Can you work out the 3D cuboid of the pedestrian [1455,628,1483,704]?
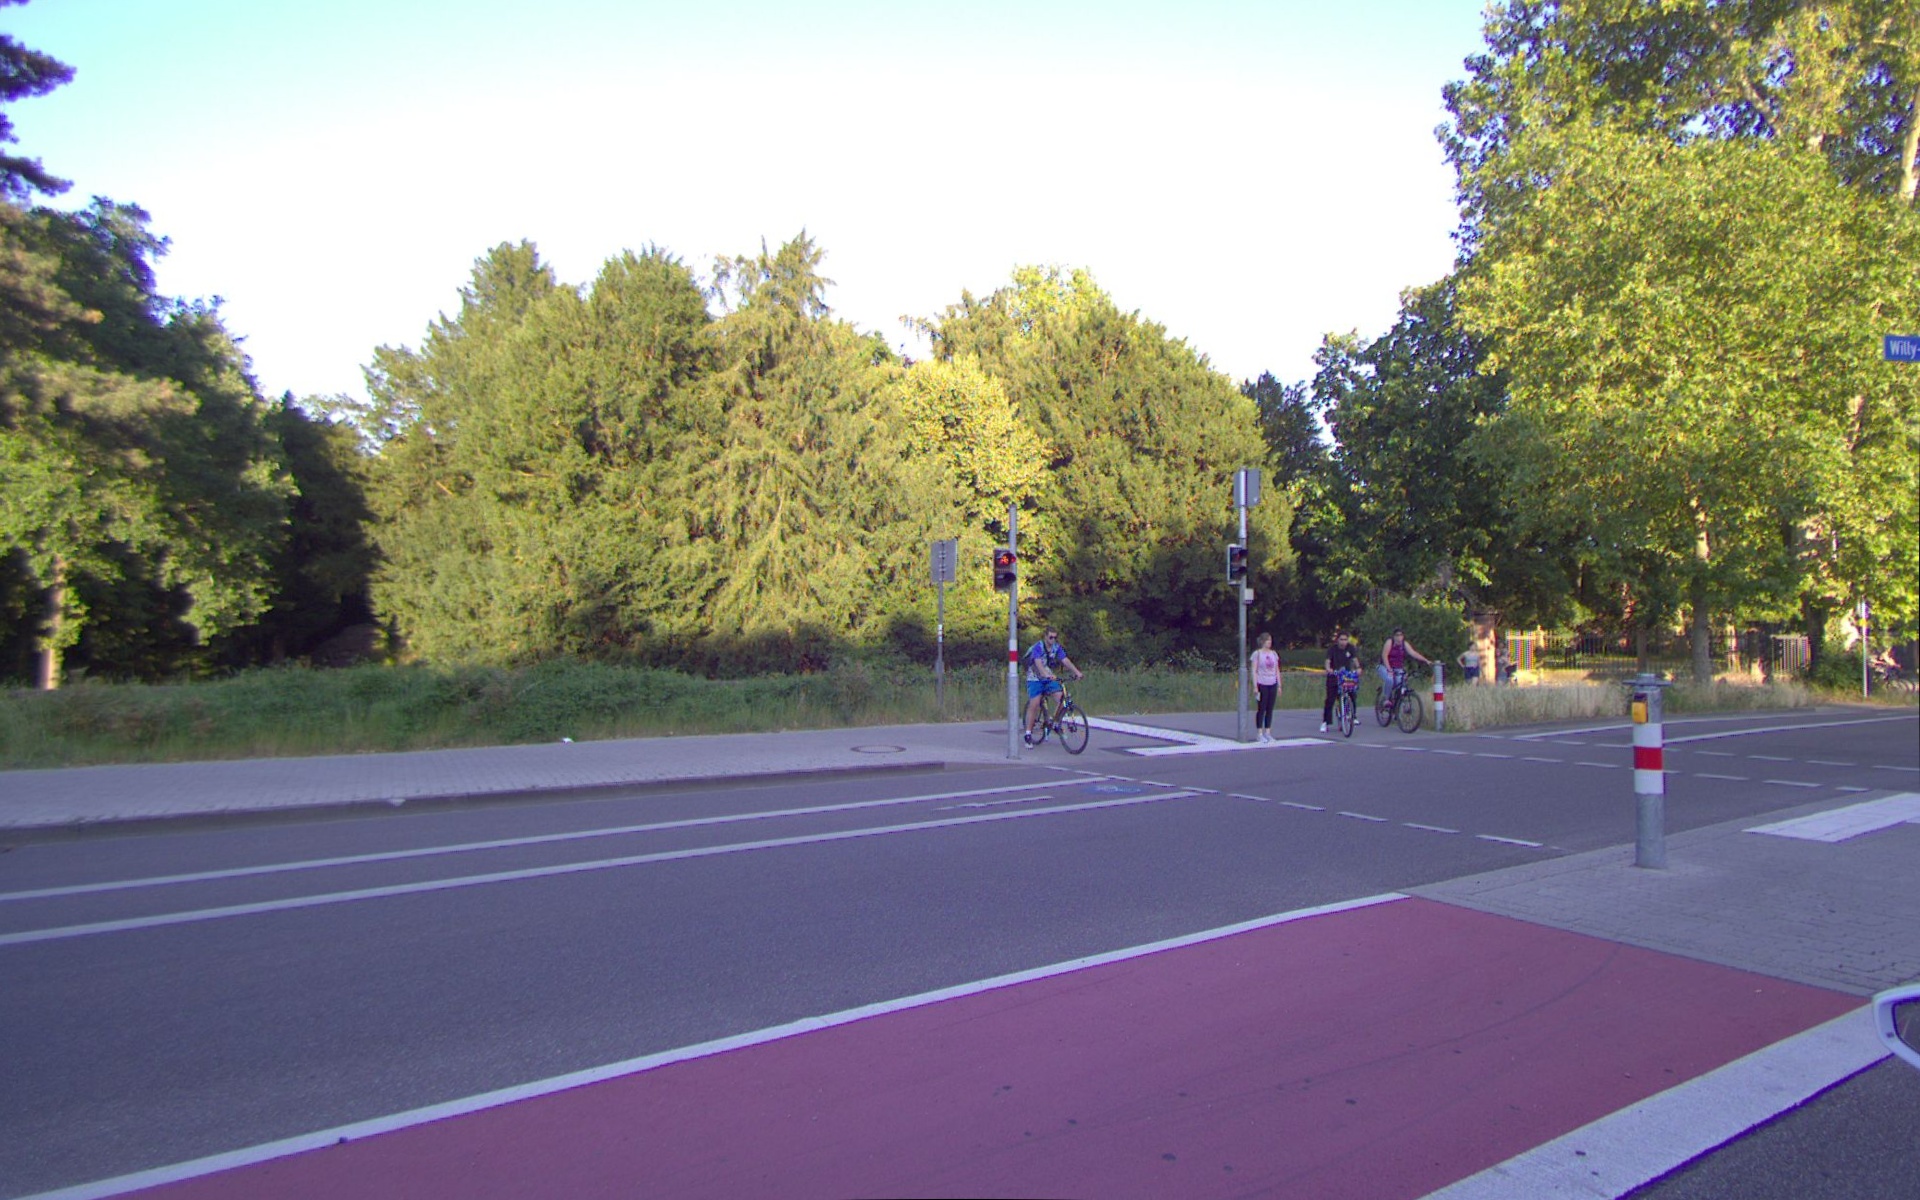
[{"bbox_3d":[13.988,1.805,27.613,0.638,2.040,0.606,0,-1,22],"label":"pedestrian"}]

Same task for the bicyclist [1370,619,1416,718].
[{"bbox_3d":[8.023,1.264,18.629,0.564,1.803,0.640,0,-2,1],"label":"bicyclist"}]

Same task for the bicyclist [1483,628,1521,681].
[{"bbox_3d":[18.353,1.844,34.023,0.742,1.751,0.944,1,-1,-1],"label":"bicyclist"}]

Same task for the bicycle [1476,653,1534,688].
[{"bbox_3d":[18.391,2.359,33.976,0.727,1.046,2.297,1,-1,0],"label":"bicycle"}]

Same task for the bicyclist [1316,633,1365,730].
[{"bbox_3d":[6.670,1.419,17.623,0.618,1.671,0.640,0,-2,1],"label":"bicyclist"}]

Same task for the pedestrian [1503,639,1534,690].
[{"bbox_3d":[23.101,2.646,41.560,1.067,2.040,0.755,2,-1,-36],"label":"pedestrian"}]

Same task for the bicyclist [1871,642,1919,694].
[{"bbox_3d":[30.716,2.214,32.995,0.743,1.652,0.954,1,-2,-29],"label":"bicyclist"}]

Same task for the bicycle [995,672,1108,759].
[{"bbox_3d":[1.320,1.669,14.967,0.762,1.115,2.111,1,-2,-23],"label":"bicycle"}]

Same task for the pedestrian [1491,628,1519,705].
[{"bbox_3d":[14.755,1.779,27.198,0.584,2.040,0.642,0,-1,20],"label":"pedestrian"}]

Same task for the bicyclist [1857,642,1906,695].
[{"bbox_3d":[29.347,2.172,31.991,0.743,1.652,0.954,1,-2,-29],"label":"bicyclist"}]

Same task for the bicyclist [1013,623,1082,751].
[{"bbox_3d":[1.307,1.275,15.007,0.729,1.848,0.705,1,-1,-33],"label":"bicyclist"}]

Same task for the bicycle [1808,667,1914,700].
[{"bbox_3d":[29.069,2.684,32.454,0.765,0.936,2.420,1,-2,-29],"label":"bicycle"}]

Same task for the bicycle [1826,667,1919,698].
[{"bbox_3d":[30.484,2.726,33.419,0.765,0.936,2.420,1,-2,-29],"label":"bicycle"}]

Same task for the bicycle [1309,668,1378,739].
[{"bbox_3d":[6.670,1.784,17.546,0.620,1.126,1.569,0,-2,1],"label":"bicycle"}]

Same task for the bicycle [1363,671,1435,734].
[{"bbox_3d":[8.024,1.851,18.445,0.568,1.043,1.772,0,-2,1],"label":"bicycle"}]

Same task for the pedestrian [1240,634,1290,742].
[{"bbox_3d":[4.979,1.412,16.413,0.492,1.718,0.604,1,-2,-28],"label":"pedestrian"}]
